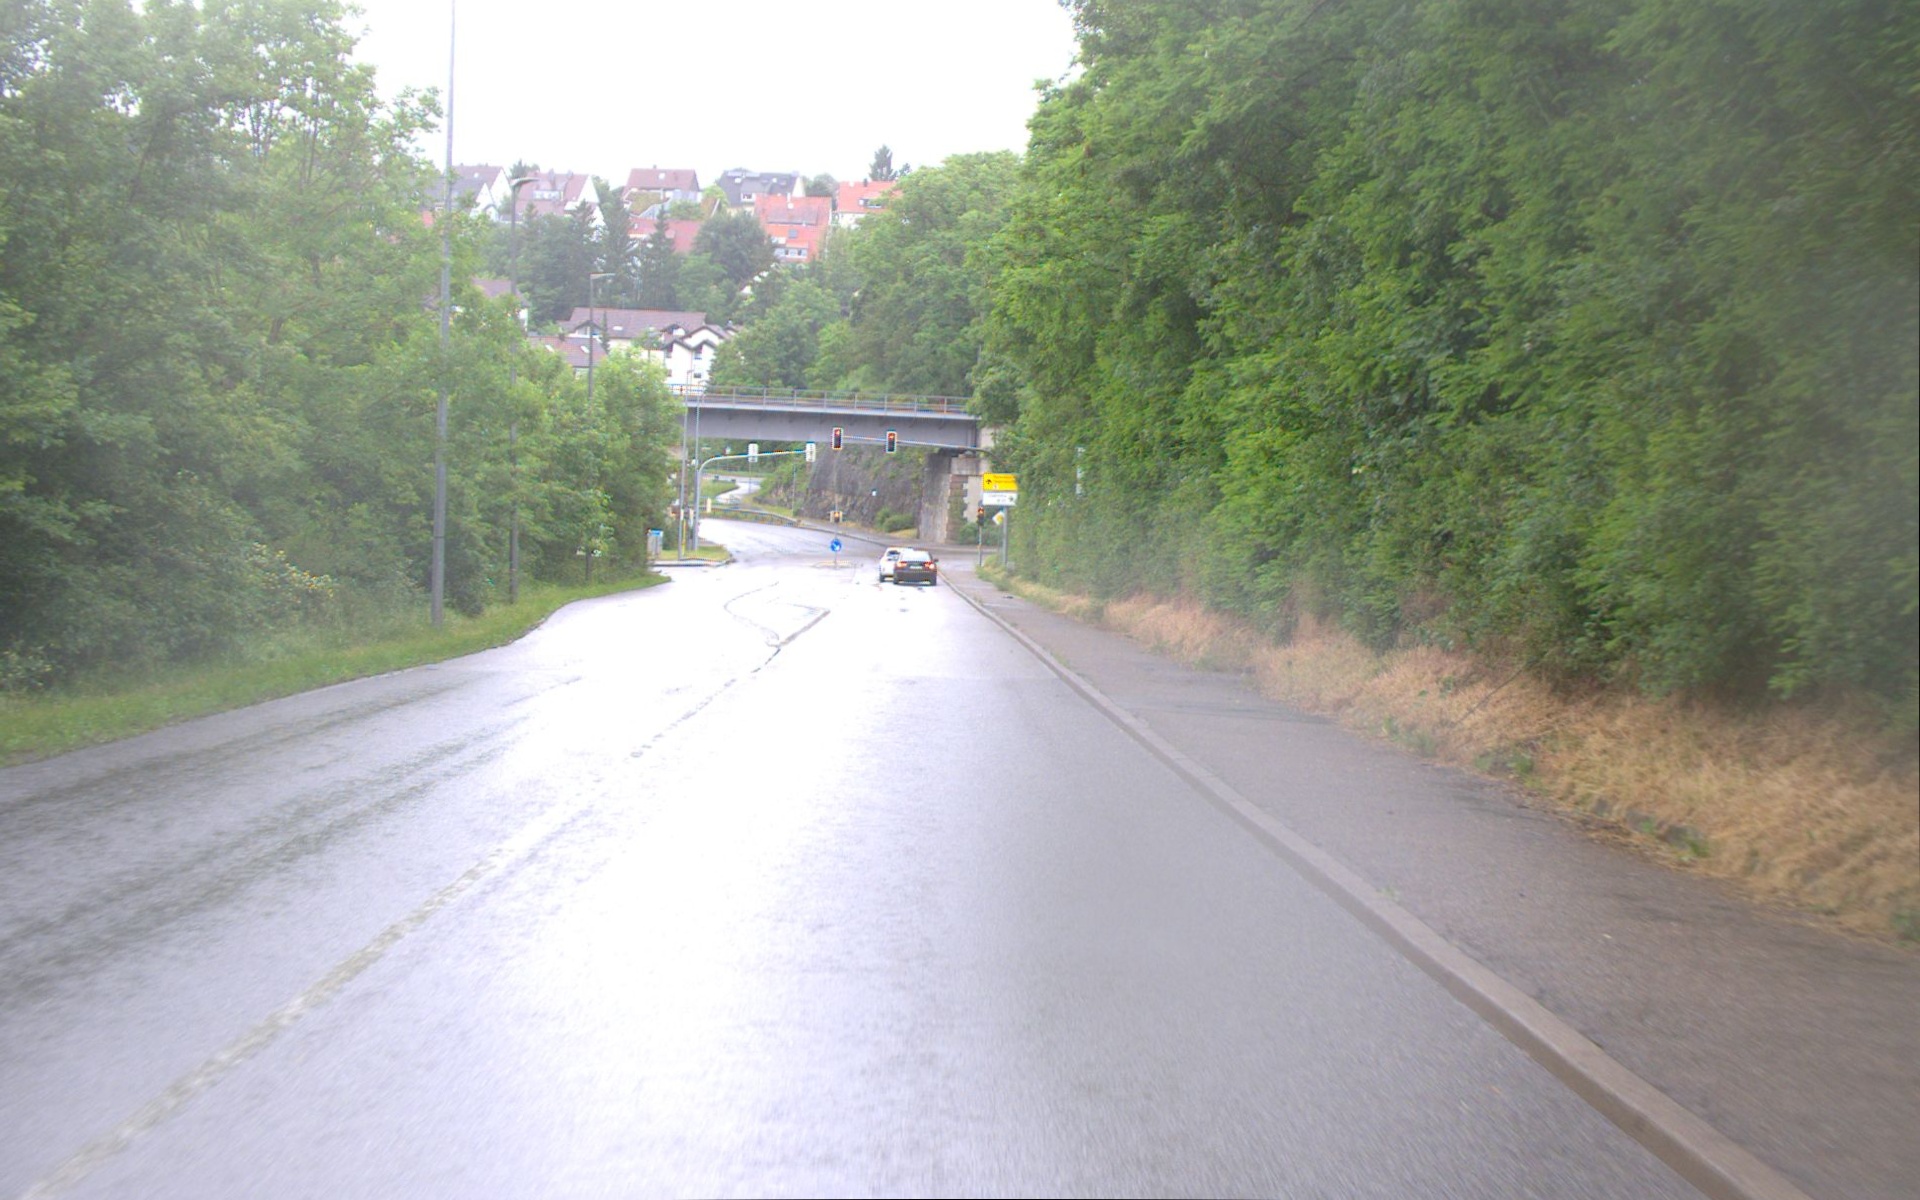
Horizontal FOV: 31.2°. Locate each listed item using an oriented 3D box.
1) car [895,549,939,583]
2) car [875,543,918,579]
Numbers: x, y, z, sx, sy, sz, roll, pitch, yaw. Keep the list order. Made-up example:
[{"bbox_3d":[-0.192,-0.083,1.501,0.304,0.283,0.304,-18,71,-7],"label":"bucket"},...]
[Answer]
[{"bbox_3d":[-1.778,-1.429,142.720,1.768,1.375,4.000,1,1,0],"label":"car"},{"bbox_3d":[-2.741,-1.695,149.329,1.768,1.557,4.000,1,1,0],"label":"car"}]
